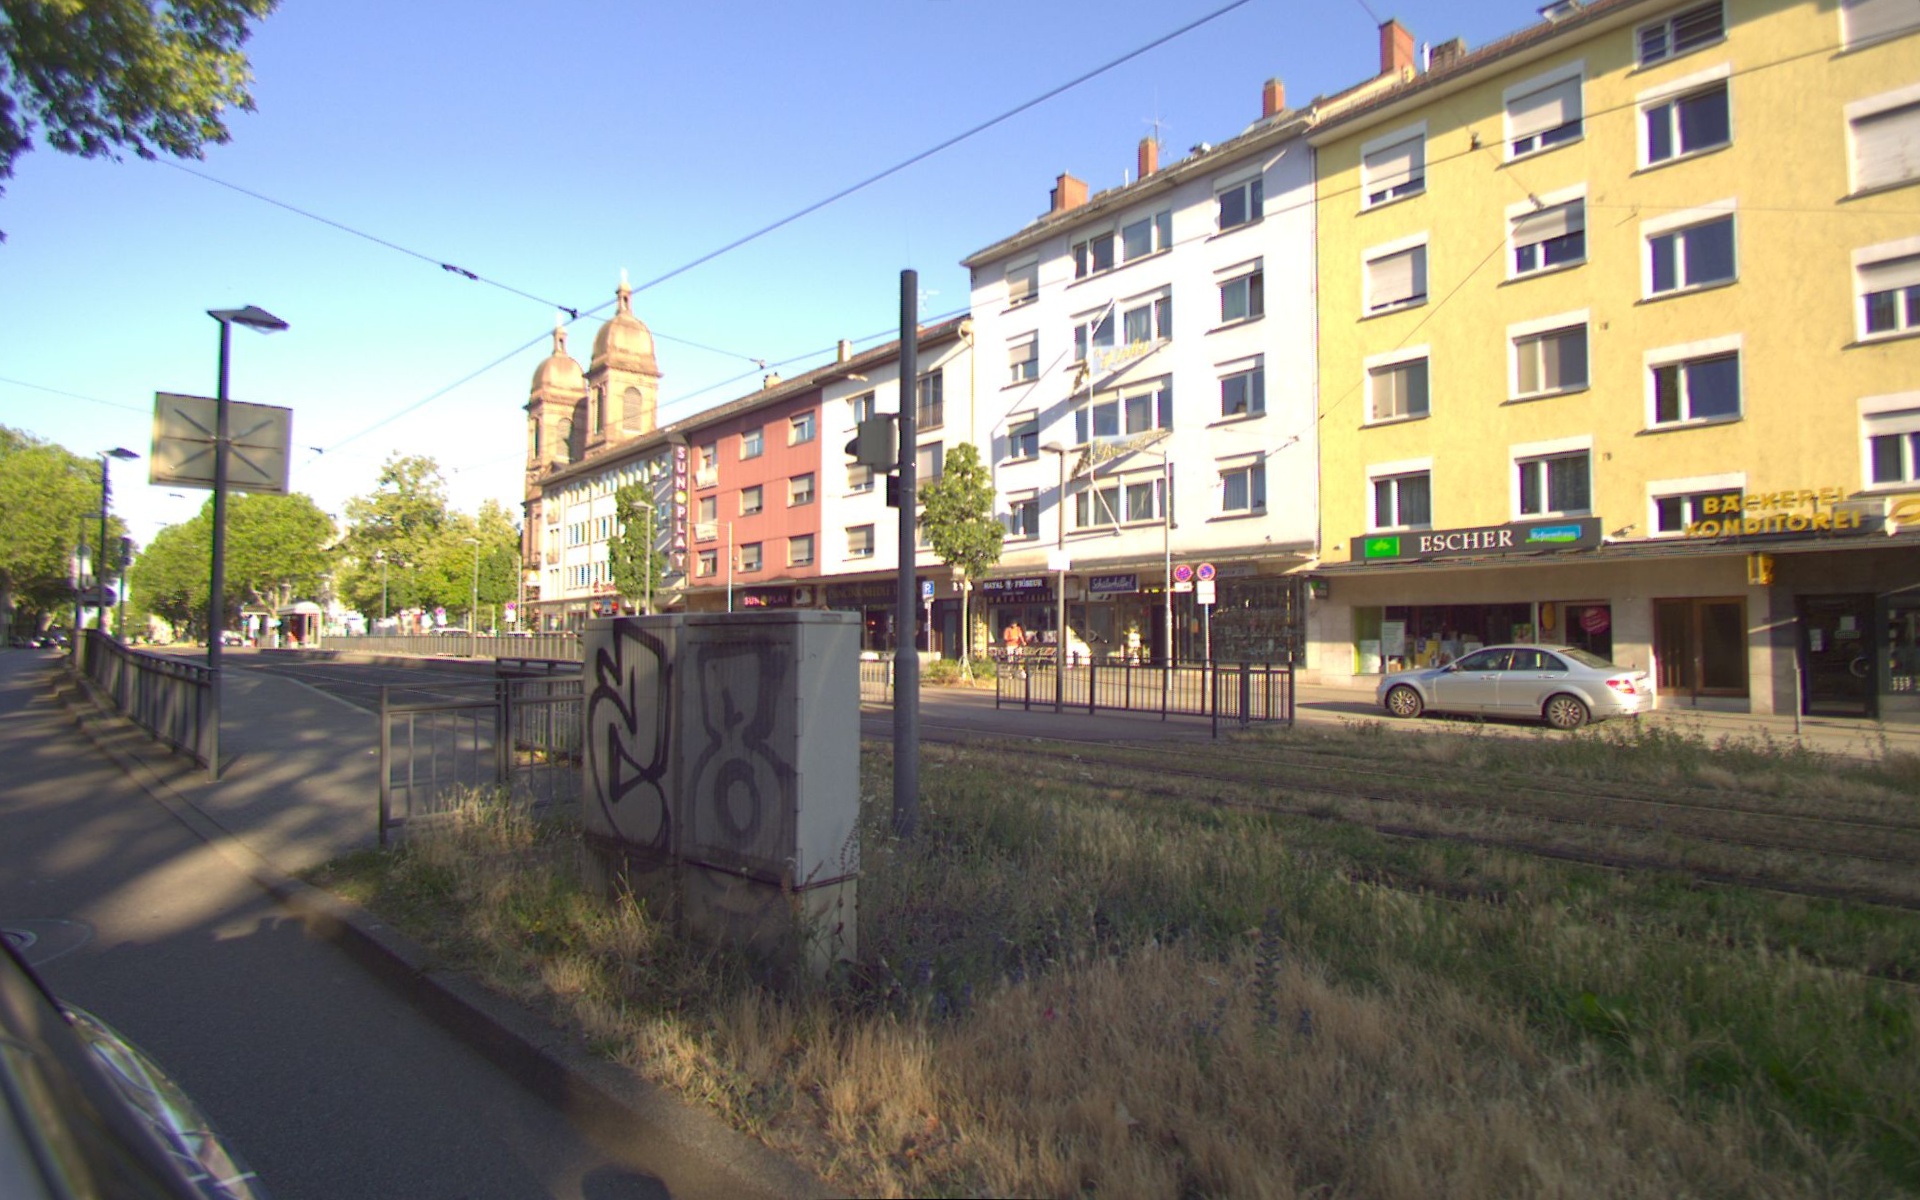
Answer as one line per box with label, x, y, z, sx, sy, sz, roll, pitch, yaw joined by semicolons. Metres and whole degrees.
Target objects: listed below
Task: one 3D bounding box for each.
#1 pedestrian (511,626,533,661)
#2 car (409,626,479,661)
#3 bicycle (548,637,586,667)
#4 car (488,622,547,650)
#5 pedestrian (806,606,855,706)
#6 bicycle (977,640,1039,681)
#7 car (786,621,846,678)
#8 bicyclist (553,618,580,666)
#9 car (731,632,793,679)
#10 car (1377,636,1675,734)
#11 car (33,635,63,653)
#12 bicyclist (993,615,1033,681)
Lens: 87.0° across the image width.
pedestrian;-22.588;2.228;52.195;0.723;1.801;0.759;-1;-1;35
car;-26.405;2.205;51.706;1.970;1.730;4.440;2;-3;-43
bicycle;-16.997;2.226;43.713;0.709;1.239;2.280;3;-3;-43
car;-25.925;2.072;59.425;1.719;1.497;3.999;-1;0;1
pedestrian;-2.489;1.068;19.490;0.590;1.863;0.733;-2;-3;42
bicycle;1.414;1.790;30.315;0.696;1.168;2.204;0;-1;-33
car;-5.141;1.735;36.540;1.836;1.813;3.773;-1;0;-4
bicyclist;-17.023;1.824;43.769;0.754;2.029;0.912;3;-3;-43
car;-7.431;2.065;38.263;1.836;1.502;3.773;-1;0;-4
car;10.279;1.452;18.617;1.971;1.489;4.413;-1;-1;-45
car;-80.728;3.885;89.572;4.001;1.408;1.695;-1;-1;44
bicyclist;1.581;1.415;30.087;0.683;1.901;1.060;1;-2;-33
